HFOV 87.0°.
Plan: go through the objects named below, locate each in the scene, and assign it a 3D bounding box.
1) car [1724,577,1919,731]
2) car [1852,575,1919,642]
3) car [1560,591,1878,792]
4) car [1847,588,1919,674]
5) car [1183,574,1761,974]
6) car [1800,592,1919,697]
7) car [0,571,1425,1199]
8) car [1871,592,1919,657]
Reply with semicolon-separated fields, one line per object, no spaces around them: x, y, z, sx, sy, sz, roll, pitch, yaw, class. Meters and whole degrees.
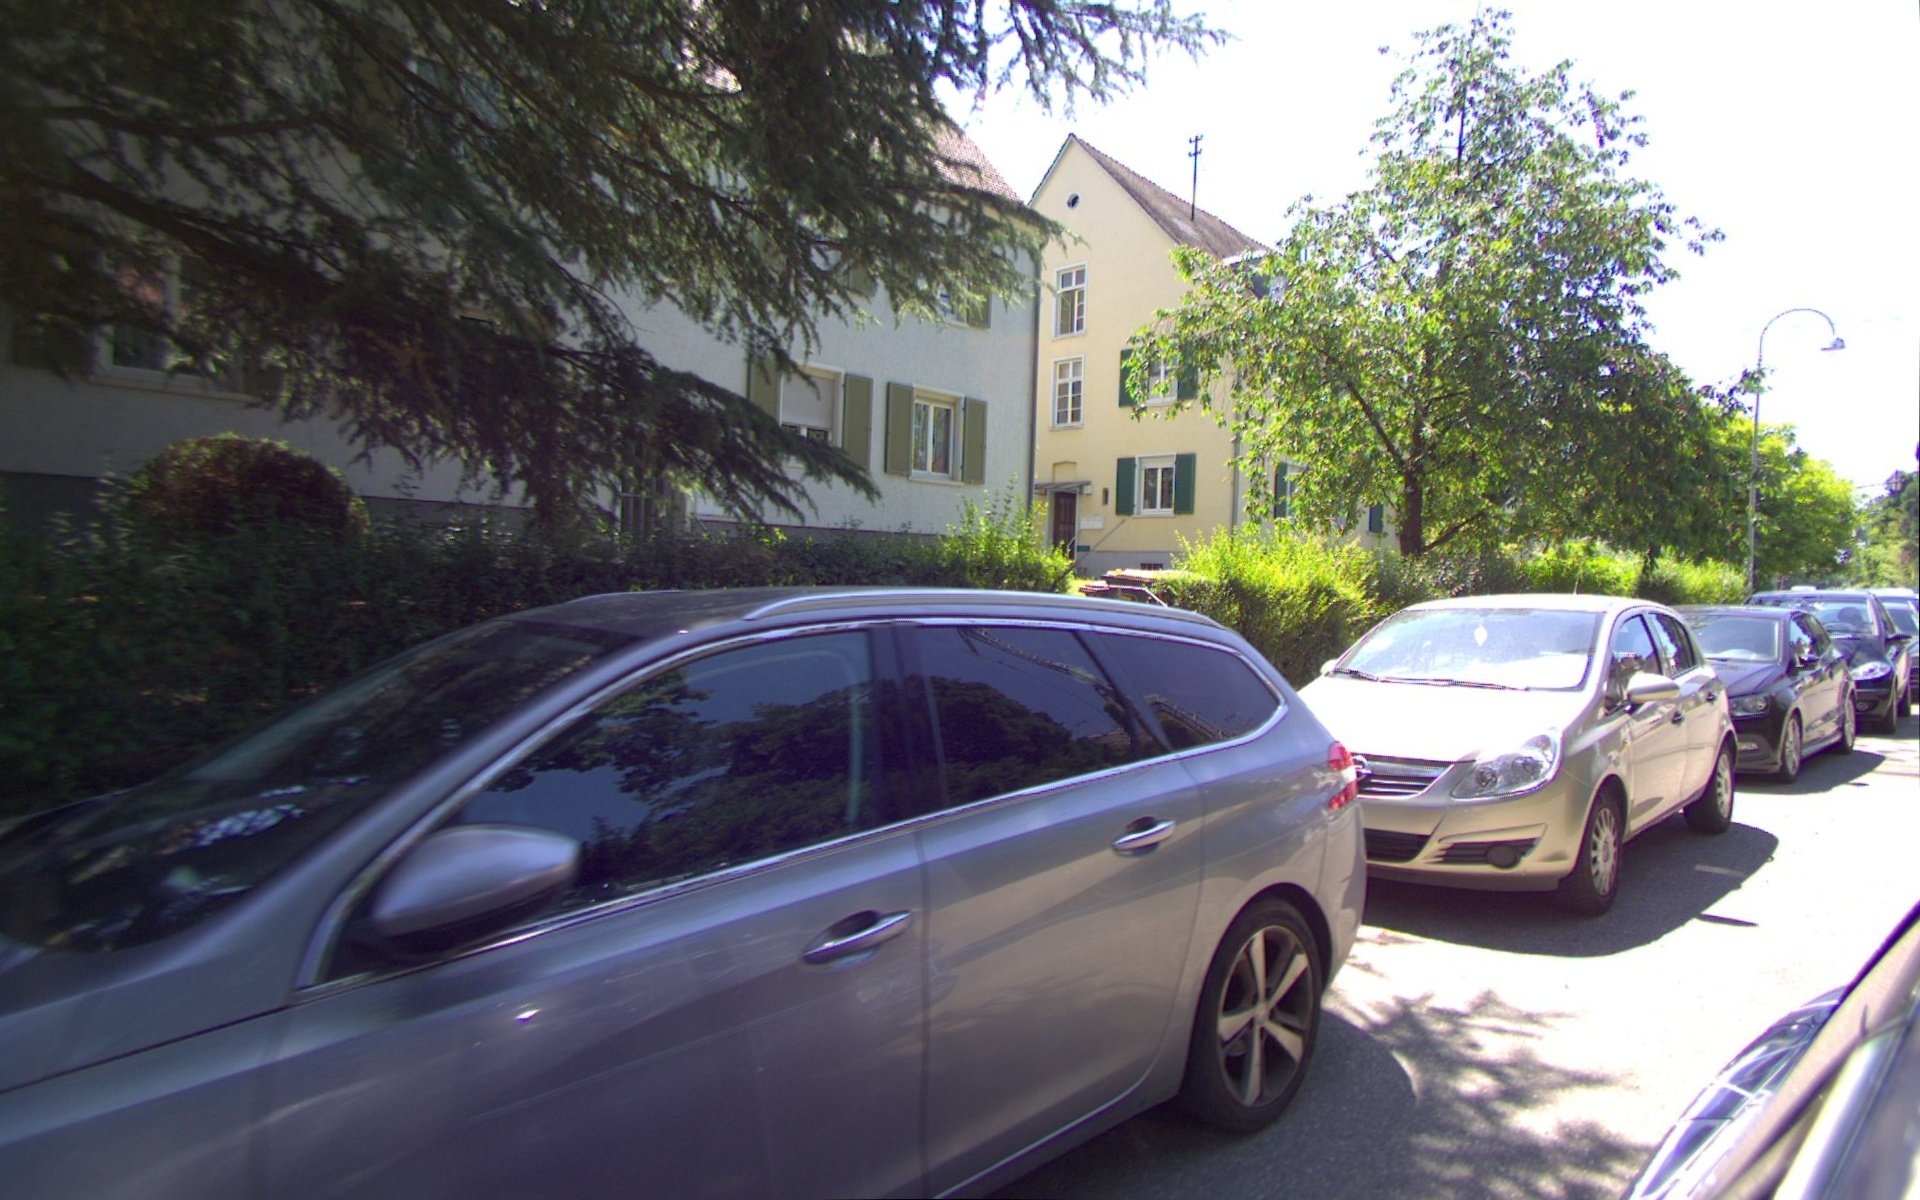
10.820;0.557;12.438;3.939;1.595;1.584;0;1;-42;car
27.022;0.216;29.326;1.661;1.826;4.138;-1;0;43;car
7.103;0.672;9.319;3.939;1.461;1.583;0;-1;-42;car
18.936;0.554;20.092;4.134;1.558;1.663;-1;1;-44;car
3.156;0.659;5.834;3.994;1.532;1.616;-1;-1;-42;car
14.630;0.616;16.049;1.662;1.449;4.136;2;2;44;car
-0.650;0.699;2.518;4.298;1.469;1.617;-2;1;-40;car
23.107;0.535;24.289;1.662;1.454;4.062;-1;0;45;car
